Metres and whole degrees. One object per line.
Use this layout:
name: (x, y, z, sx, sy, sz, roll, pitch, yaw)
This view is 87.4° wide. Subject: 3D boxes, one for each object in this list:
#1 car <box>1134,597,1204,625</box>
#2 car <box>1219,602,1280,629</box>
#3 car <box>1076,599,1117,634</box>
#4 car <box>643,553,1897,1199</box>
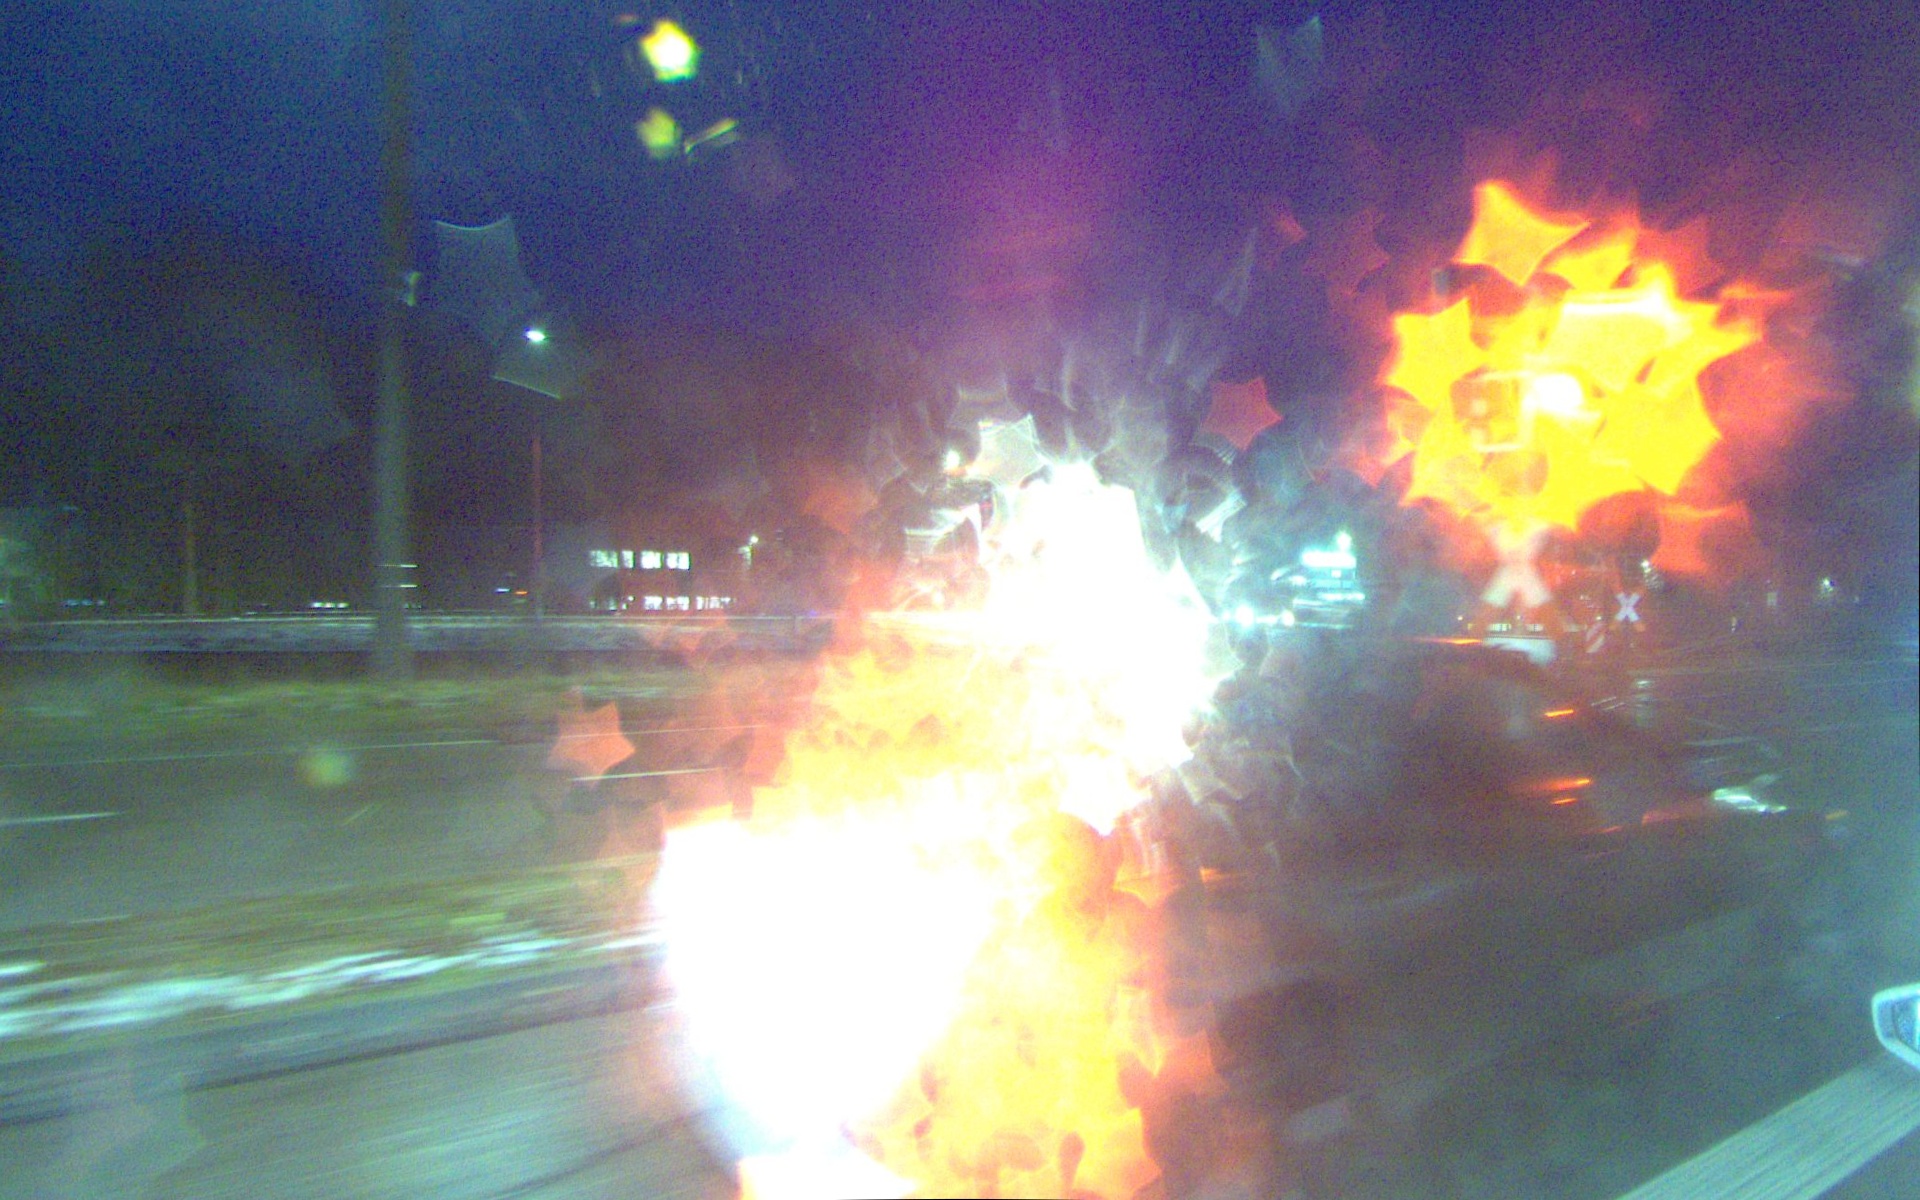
car: (11.848, 0.631, 56.879, 3.963, 1.539, 1.709, 1, 1, -37)
car: (17.714, 0.945, 61.413, 3.970, 1.539, 1.706, 1, 1, -42)
car: (6.591, 0.740, 48.221, 1.485, 1.538, 4.376, 2, 1, 13)
car: (1.305, 0.738, 3.582, 4.383, 1.531, 1.776, 1, -1, -30)
